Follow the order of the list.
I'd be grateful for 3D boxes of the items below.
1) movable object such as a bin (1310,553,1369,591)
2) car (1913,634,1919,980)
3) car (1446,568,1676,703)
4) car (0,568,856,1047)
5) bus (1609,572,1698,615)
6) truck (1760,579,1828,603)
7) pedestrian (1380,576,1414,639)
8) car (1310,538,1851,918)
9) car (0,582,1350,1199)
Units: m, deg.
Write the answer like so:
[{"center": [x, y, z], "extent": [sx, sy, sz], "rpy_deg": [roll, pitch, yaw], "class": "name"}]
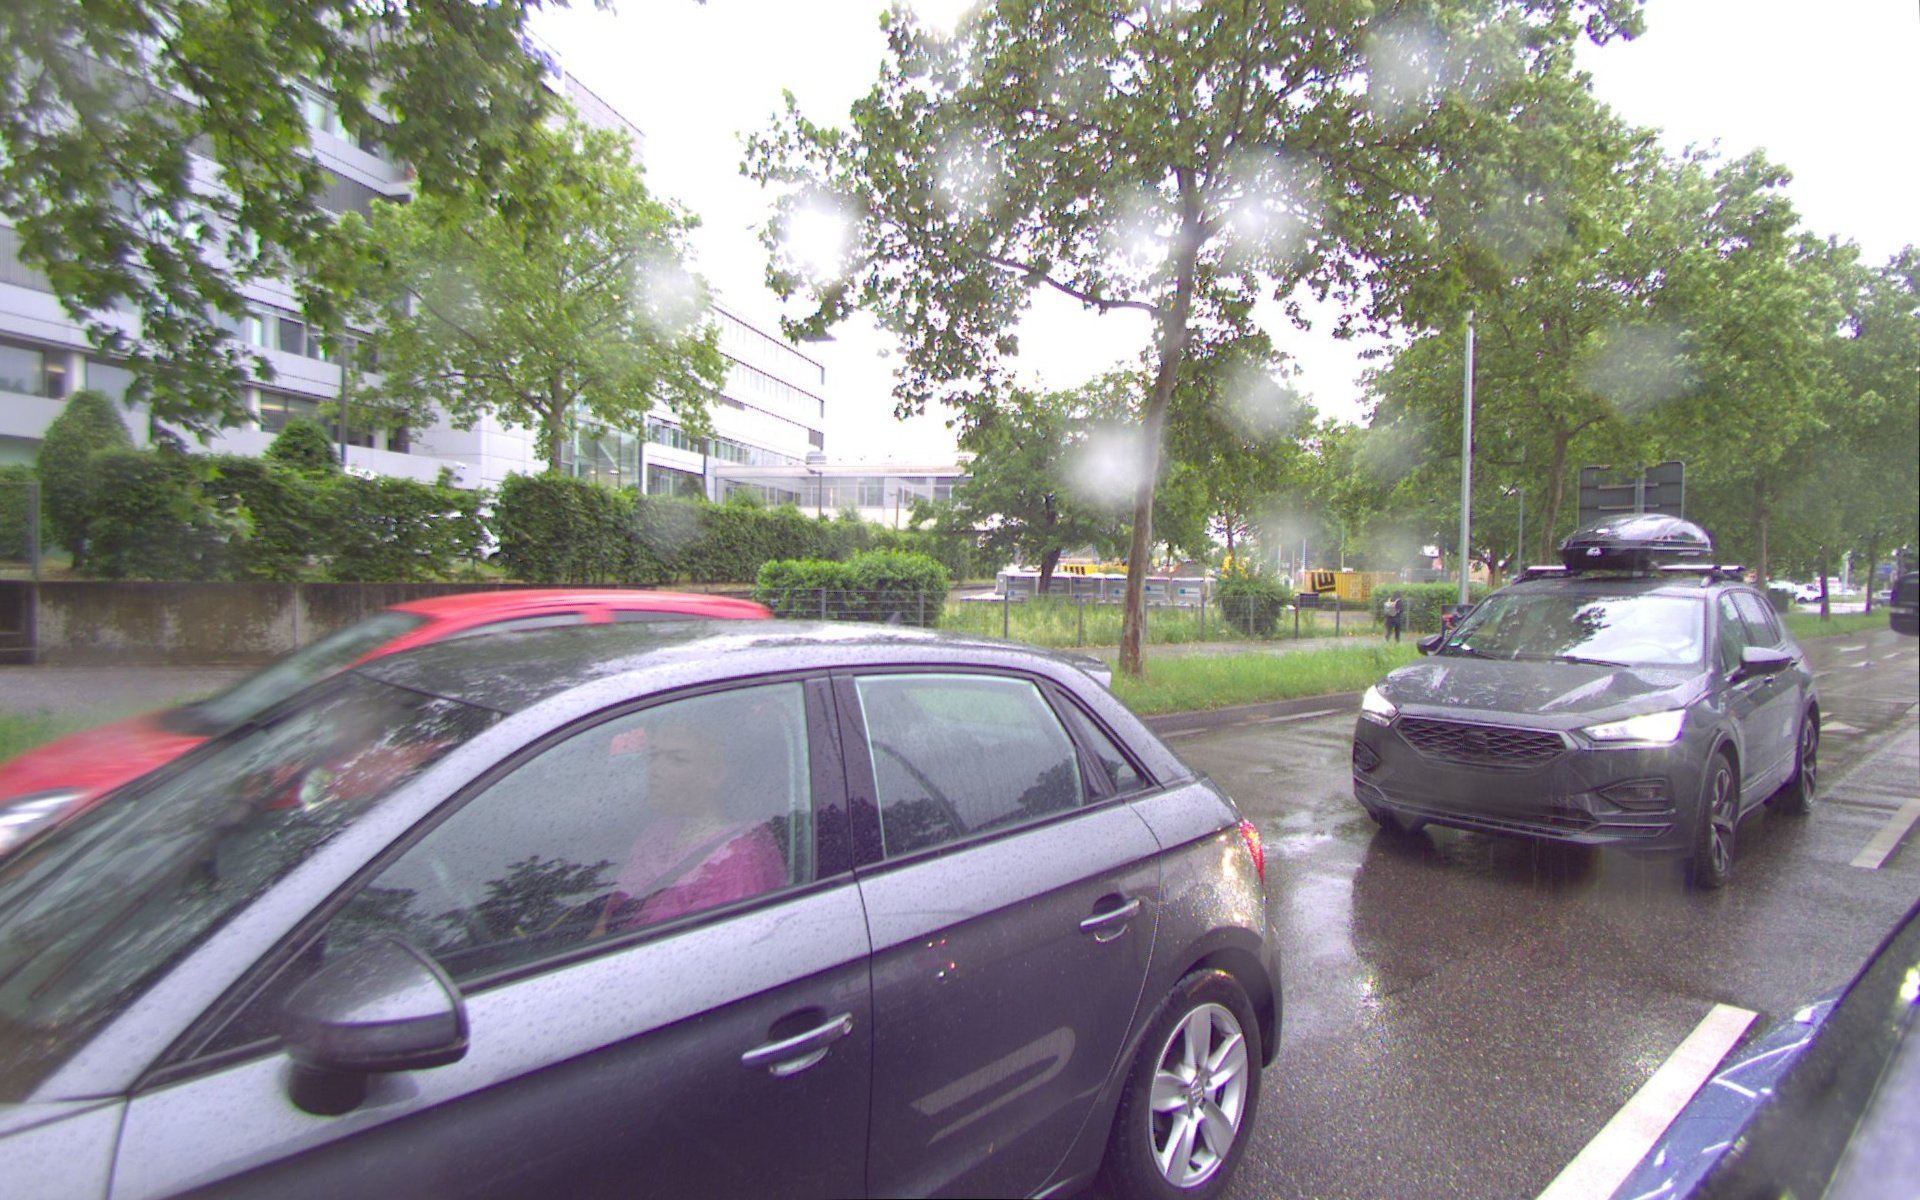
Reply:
[{"center": [35.961, -2.636, 96.055], "extent": [4.849, 3.478, 1.917], "rpy_deg": [0, 0, 4], "class": "movable object such as a bin"}, {"center": [6.332, 0.174, 4.956], "extent": [5.599, 2.544, 2.024], "rpy_deg": [0, 1, -43], "class": "car"}, {"center": [8.858, 0.481, 14.782], "extent": [4.074, 1.707, 1.677], "rpy_deg": [1, -1, -41], "class": "car"}, {"center": [-2.302, 0.633, 4.789], "extent": [3.331, 1.481, 1.571], "rpy_deg": [0, 0, -42], "class": "car"}, {"center": [43.736, -0.421, 63.916], "extent": [1.681, 2.600, 4.366], "rpy_deg": [0, 0, -41], "class": "bus"}, {"center": [85.204, -0.920, 103.465], "extent": [4.988, 2.406, 1.785], "rpy_deg": [0, 0, 19], "class": "truck"}, {"center": [12.225, 0.199, 28.294], "extent": [0.645, 1.738, 0.645], "rpy_deg": [0, 0, -40], "class": "pedestrian"}, {"center": [4.329, 0.556, 6.745], "extent": [4.347, 1.719, 1.892], "rpy_deg": [0, 1, -42], "class": "car"}, {"center": [-0.901, 0.696, 2.128], "extent": [3.715, 1.446, 1.679], "rpy_deg": [0, 1, -41], "class": "car"}]
